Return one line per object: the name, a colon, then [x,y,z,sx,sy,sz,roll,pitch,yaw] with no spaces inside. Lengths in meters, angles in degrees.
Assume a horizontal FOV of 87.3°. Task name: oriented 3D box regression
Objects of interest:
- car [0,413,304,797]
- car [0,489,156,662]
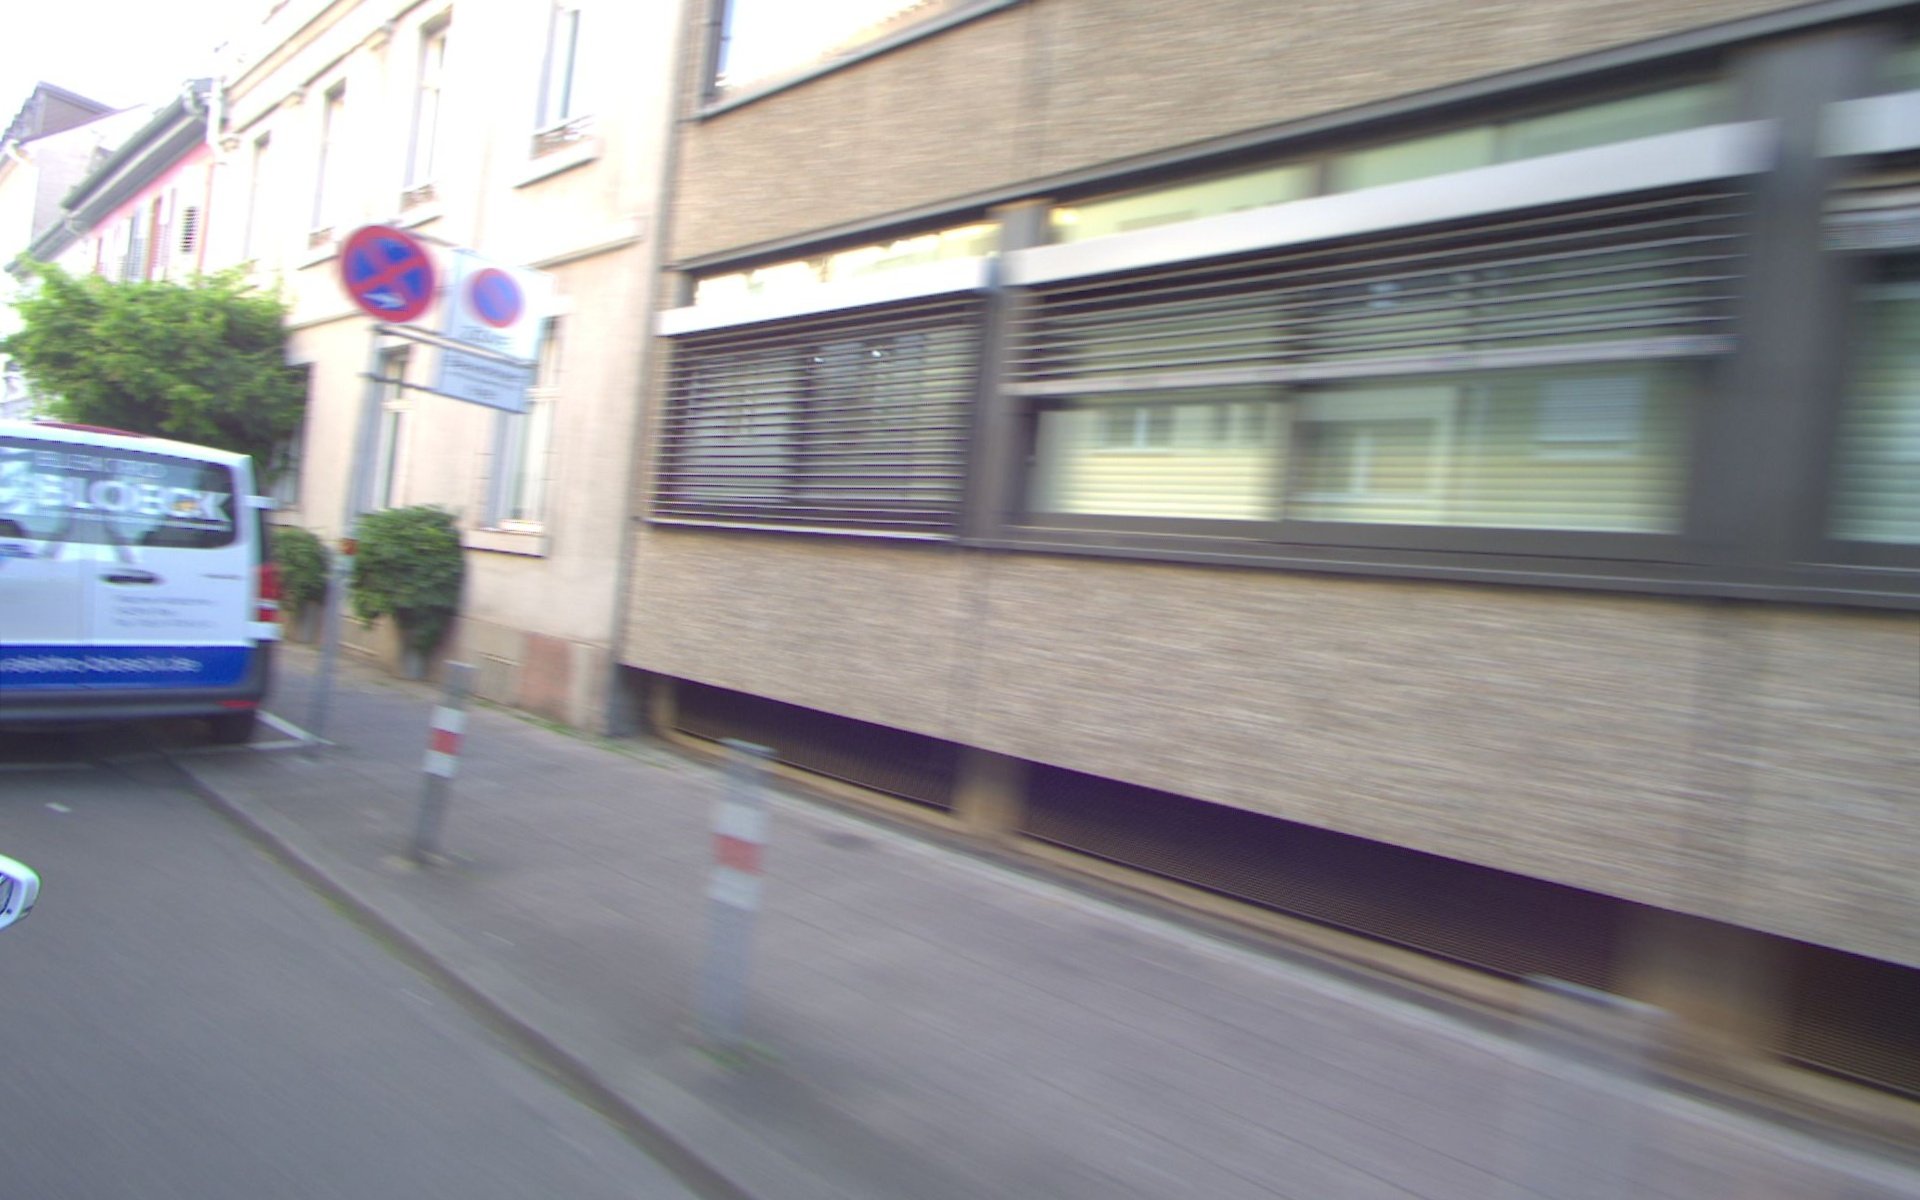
car: [-6.434,-0.141,7.068,1.931,1.921,5.209,6,0,-45]
car: [-9.955,-0.374,10.411,3.697,1.524,1.654,7,0,38]
